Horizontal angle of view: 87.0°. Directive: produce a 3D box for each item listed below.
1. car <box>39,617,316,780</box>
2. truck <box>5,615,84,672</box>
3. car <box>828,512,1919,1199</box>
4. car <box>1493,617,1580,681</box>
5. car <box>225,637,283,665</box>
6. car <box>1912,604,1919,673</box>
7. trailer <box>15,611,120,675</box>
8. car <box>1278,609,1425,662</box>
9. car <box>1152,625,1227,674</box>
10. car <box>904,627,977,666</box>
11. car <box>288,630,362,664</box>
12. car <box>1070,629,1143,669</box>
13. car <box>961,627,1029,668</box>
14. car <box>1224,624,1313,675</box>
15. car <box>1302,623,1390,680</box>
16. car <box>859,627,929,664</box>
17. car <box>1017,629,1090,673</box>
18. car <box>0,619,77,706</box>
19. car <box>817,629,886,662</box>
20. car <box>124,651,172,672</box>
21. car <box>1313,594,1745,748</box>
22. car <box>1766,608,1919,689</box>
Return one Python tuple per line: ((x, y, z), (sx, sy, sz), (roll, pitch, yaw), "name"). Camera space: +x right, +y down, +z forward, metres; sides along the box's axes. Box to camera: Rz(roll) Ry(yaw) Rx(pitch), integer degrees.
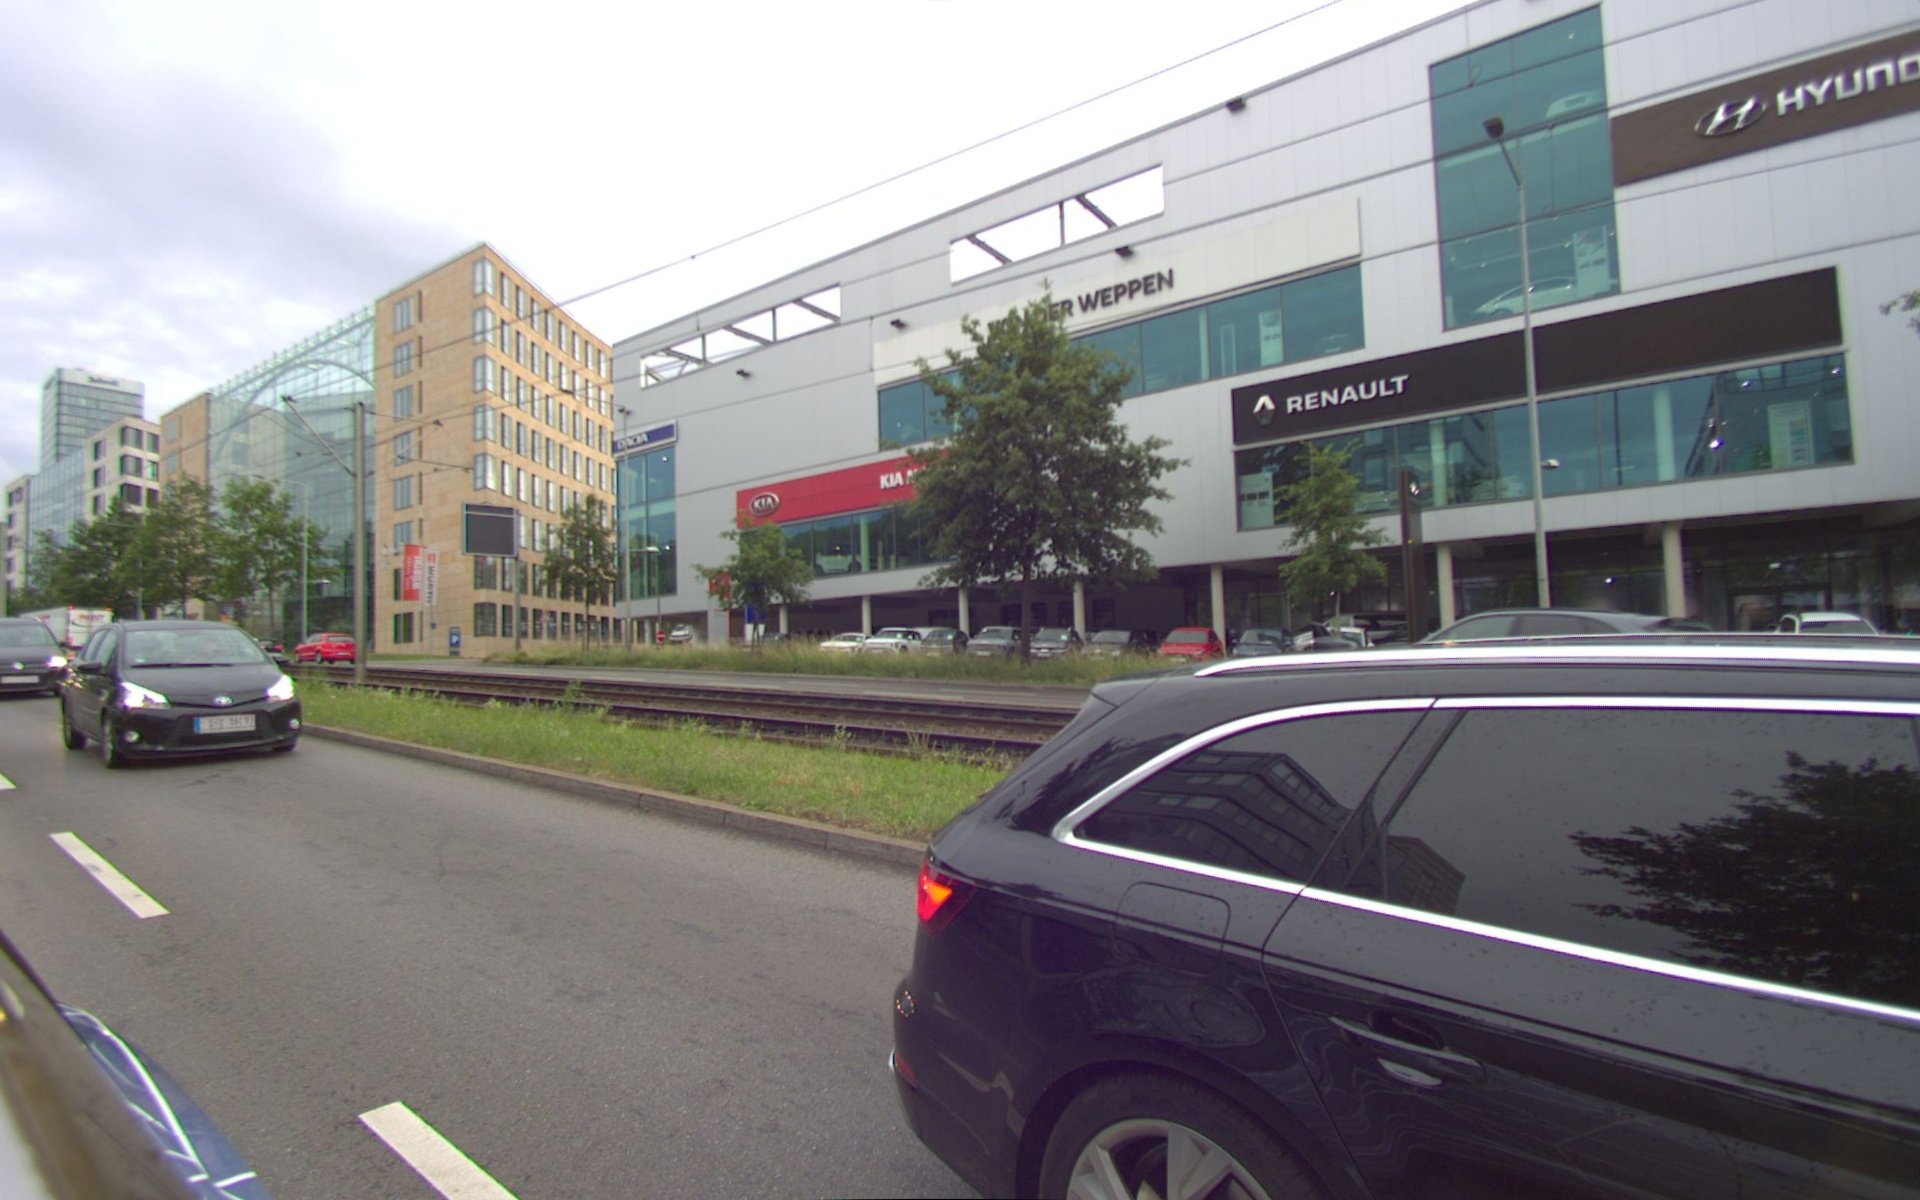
((-9.001, 0.992, 11.540), (3.822, 1.544, 1.683), (-2, -1, 39), "car")
((-71.413, 3.422, 78.912), (7.017, 4.276, 3.106), (-2, -5, 37), "truck")
((1.980, 0.637, 1.437), (4.511, 1.478, 1.762), (-2, -2, 41), "car")
((15.903, 1.291, 27.941), (1.925, 1.470, 3.981), (-1, 1, 30), "car")
((-42.455, 3.035, 60.804), (4.092, 1.593, 1.668), (-2, -2, 37), "car")
((22.879, 0.956, 22.158), (1.992, 1.627, 4.331), (-2, 1, 30), "car")
((-66.002, 3.163, 74.678), (13.260, 4.363, 3.104), (-2, -5, 38), "trailer")
((14.003, 1.283, 36.468), (4.488, 1.796, 1.997), (-1, -1, 5), "car")
((7.859, 1.648, 34.415), (1.789, 1.362, 3.903), (-2, 1, 24), "car")
((-0.741, 1.861, 41.000), (1.688, 1.362, 3.499), (-2, 1, 23), "car")
((-30.018, 2.215, 47.826), (4.095, 1.524, 1.569), (-2, -4, 37), "car")
((5.292, 1.723, 36.293), (1.688, 1.190, 3.498), (-2, 1, 24), "car")
((1.430, 1.837, 39.679), (1.686, 1.362, 3.503), (-2, 1, 20), "car")
((10.122, 1.570, 33.012), (1.914, 1.362, 4.005), (-1, 1, 30), "car")
((11.996, 1.542, 31.315), (1.914, 1.470, 4.005), (-1, 1, 30), "car")
((-2.748, 1.920, 42.931), (1.685, 1.304, 3.643), (-2, 1, 18), "car")
((3.544, 1.878, 37.753), (1.688, 1.362, 3.498), (-2, 1, 24), "car")
((-19.674, 1.238, 20.746), (4.314, 1.619, 1.763), (-2, 0, 41), "car")
((-4.739, 1.994, 44.607), (1.685, 1.196, 3.643), (-2, 1, 18), "car")
((-58.774, 4.442, 73.267), (4.015, 1.380, 1.669), (-2, -1, 35), "car")
((7.577, 0.906, 13.799), (4.837, 1.733, 1.973), (-2, -4, 41), "car")
((20.641, 1.060, 23.779), (1.992, 1.562, 4.331), (-1, 1, 30), "car")
